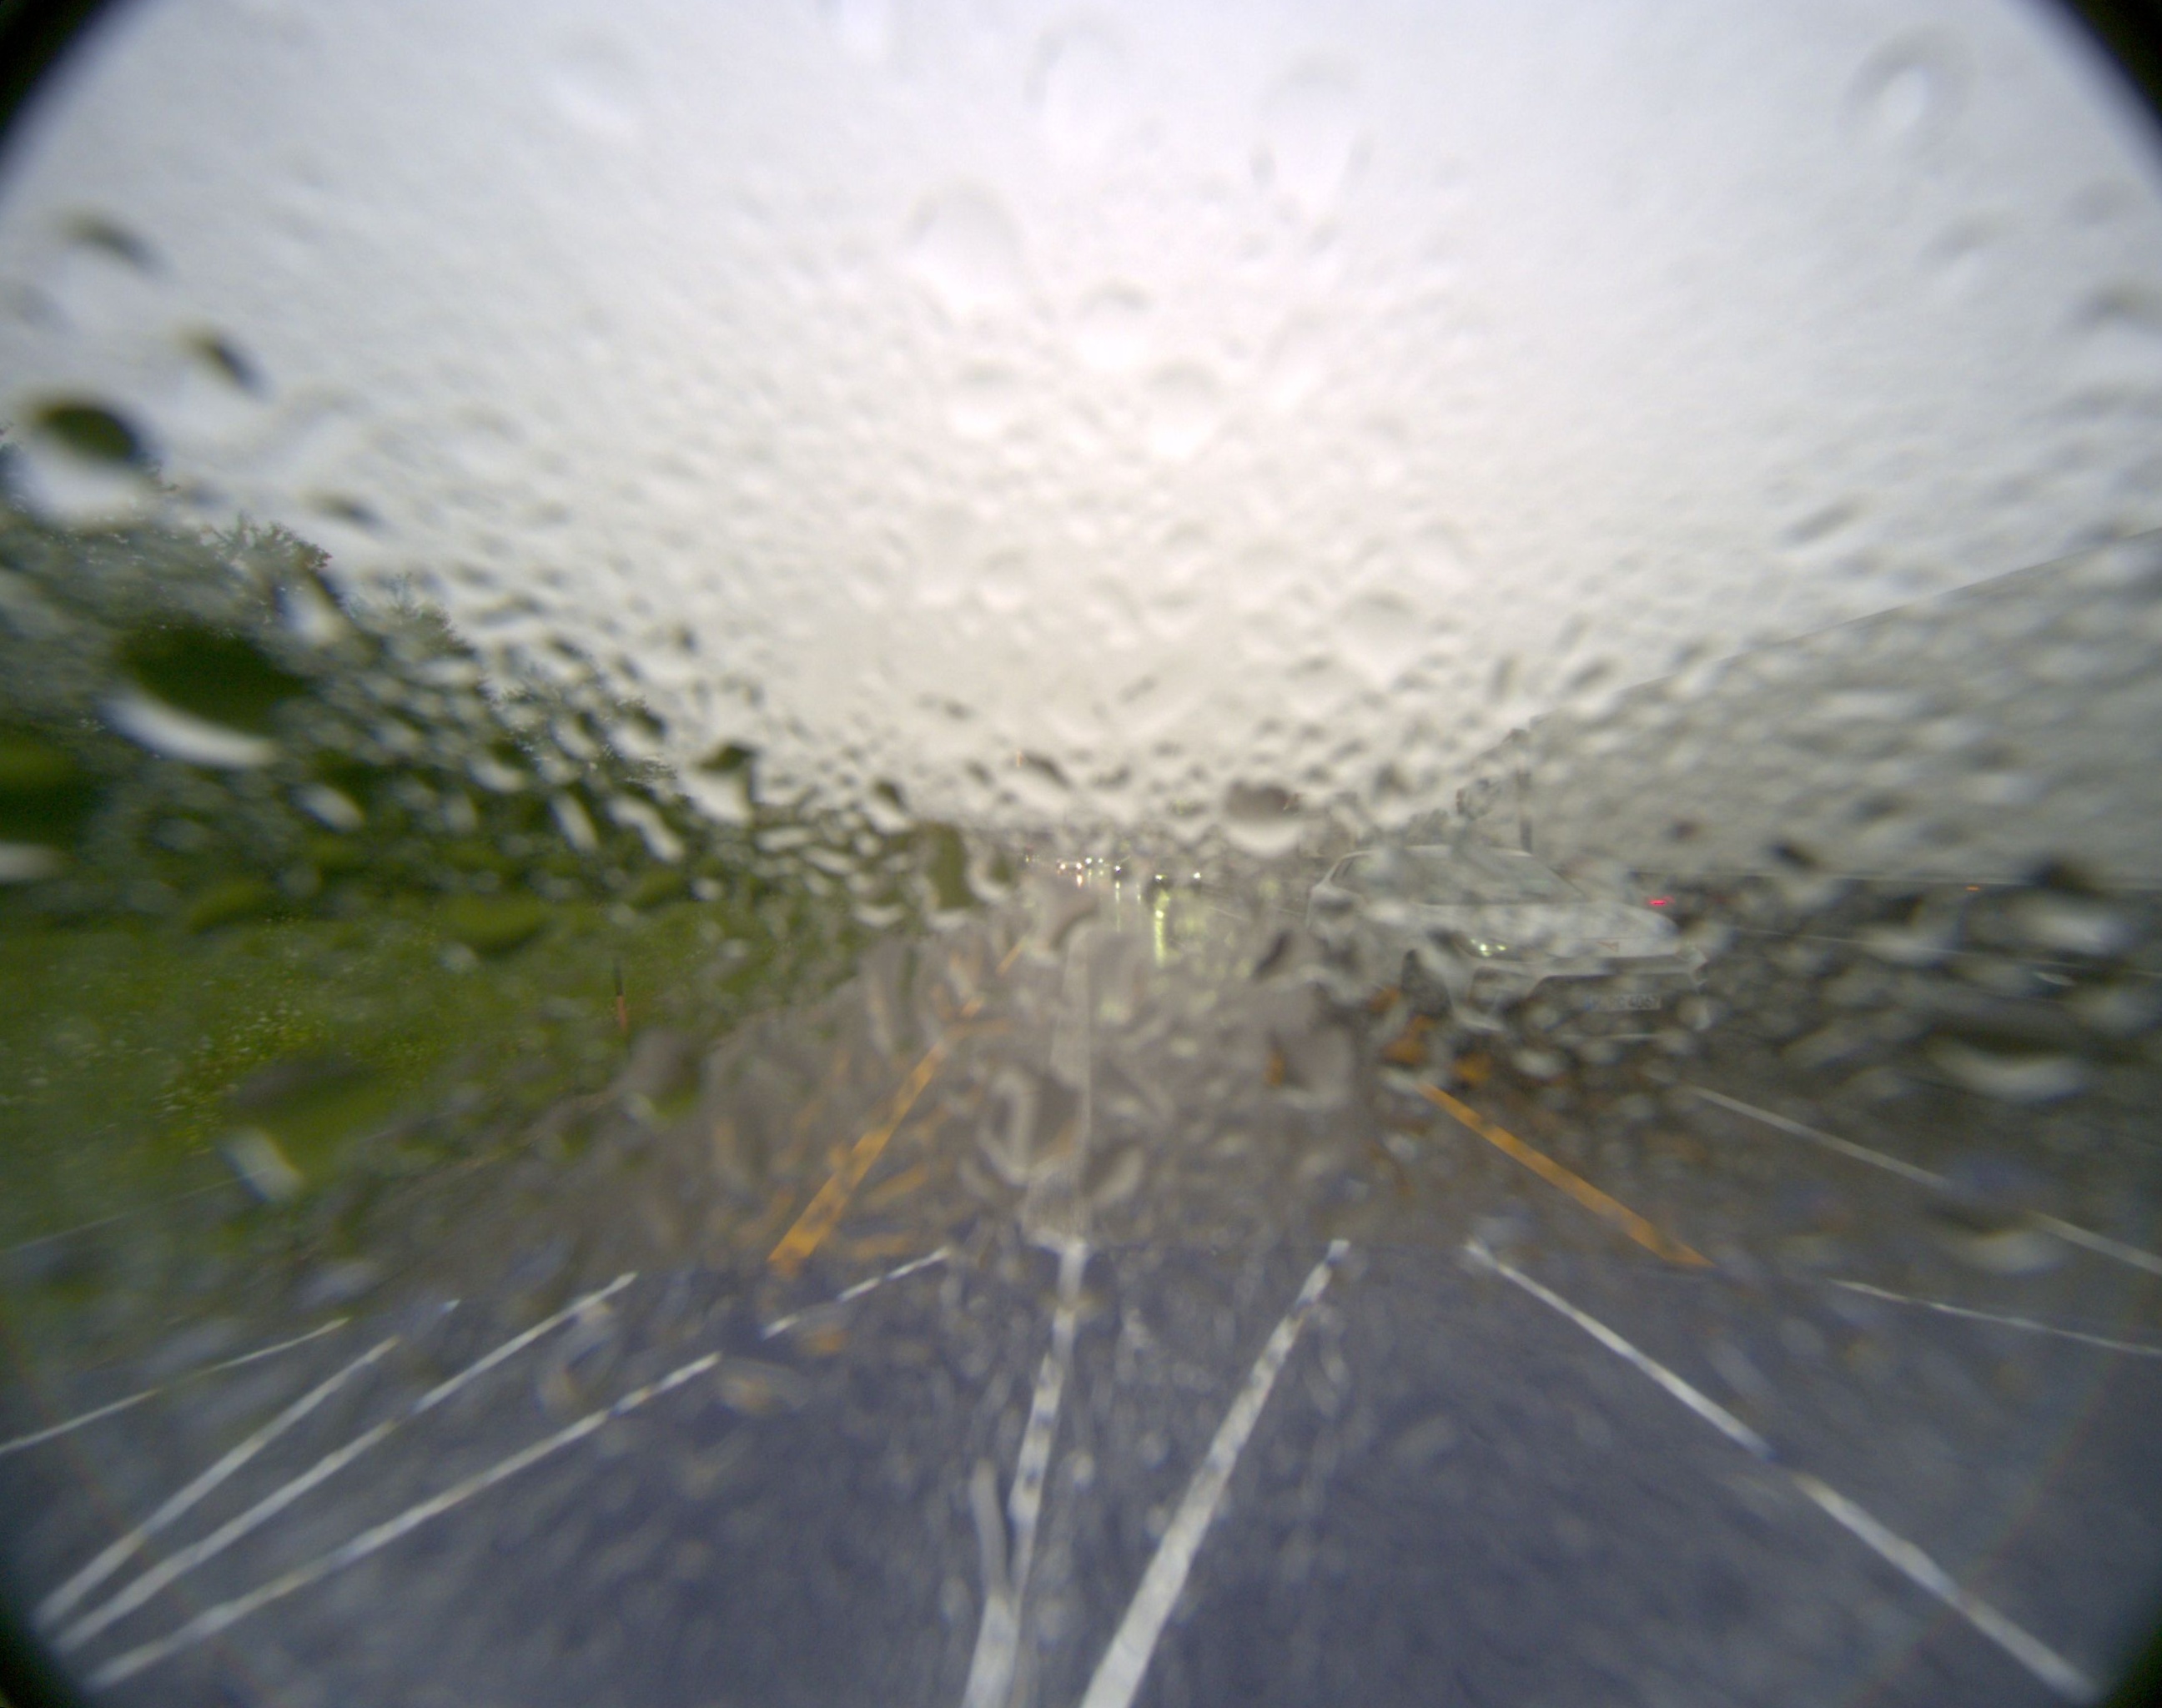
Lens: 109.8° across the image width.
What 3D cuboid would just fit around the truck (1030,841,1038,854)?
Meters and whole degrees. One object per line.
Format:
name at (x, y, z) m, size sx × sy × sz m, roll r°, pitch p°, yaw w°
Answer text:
truck at (-16.123, -2.296, 260.072) m, size 2.507 × 4.067 × 15.195 m, roll -3°, pitch 1°, yaw -3°

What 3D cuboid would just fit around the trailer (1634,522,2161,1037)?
trailer at (9.992, -0.604, 5.704) m, size 2.914 × 4.065 × 12.220 m, roll -1°, pitch 0°, yaw 1°

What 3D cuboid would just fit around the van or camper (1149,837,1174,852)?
van or camper at (19.755, -2.254, 186.042) m, size 5.422 × 3.325 × 3.376 m, roll -3°, pitch 1°, yaw -5°

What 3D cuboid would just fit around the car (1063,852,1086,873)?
car at (-0.594, 0.762, 67.863) m, size 1.881 × 1.772 × 3.998 m, roll 0°, pitch 1°, yaw -3°

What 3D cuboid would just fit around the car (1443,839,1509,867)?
car at (30.117, -0.088, 58.140) m, size 2.099 × 1.955 × 5.364 m, roll -1°, pitch 0°, yaw -1°

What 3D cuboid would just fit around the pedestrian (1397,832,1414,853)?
pedestrian at (32.069, -1.106, 75.109) m, size 1.108 × 2.002 × 1.126 m, roll -3°, pitch 1°, yaw -4°

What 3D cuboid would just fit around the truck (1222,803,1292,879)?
truck at (10.105, -0.721, 44.186) m, size 2.490 × 4.007 × 6.447 m, roll -2°, pitch 0°, yaw 0°

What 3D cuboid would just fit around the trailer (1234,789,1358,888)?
trailer at (10.119, -0.657, 37.582) m, size 2.500 × 4.026 × 12.585 m, roll -1°, pitch 0°, yaw 0°

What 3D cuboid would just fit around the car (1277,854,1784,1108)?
car at (3.502, 0.809, 7.322) m, size 1.932 × 1.542 × 5.006 m, roll -1°, pitch 0°, yaw 0°

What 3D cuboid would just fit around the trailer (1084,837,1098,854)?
trailer at (2.332, -2.025, 180.922) m, size 2.620 × 3.984 × 11.923 m, roll -2°, pitch 1°, yaw -2°

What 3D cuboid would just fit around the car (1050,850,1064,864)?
car at (-3.091, 0.361, 97.051) m, size 1.674 × 1.804 × 3.998 m, roll 0°, pitch 1°, yaw -3°

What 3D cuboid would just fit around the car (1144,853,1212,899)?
car at (3.787, 0.807, 30.494) m, size 2.069 × 1.618 × 5.195 m, roll -1°, pitch 0°, yaw 0°

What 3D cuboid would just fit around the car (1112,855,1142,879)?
car at (3.124, 0.883, 52.198) m, size 1.792 × 1.480 × 3.999 m, roll -2°, pitch 1°, yaw 0°

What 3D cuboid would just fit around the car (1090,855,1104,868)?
car at (1.966, 0.880, 94.592) m, size 1.589 × 1.528 × 3.831 m, roll 0°, pitch 1°, yaw 0°

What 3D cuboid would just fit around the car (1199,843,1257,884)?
car at (7.090, 0.452, 37.010) m, size 1.998 × 1.873 × 4.433 m, roll -1°, pitch 0°, yaw 1°

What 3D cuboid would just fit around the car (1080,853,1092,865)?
car at (0.736, 0.742, 120.917) m, size 1.673 × 1.804 × 3.999 m, roll 0°, pitch 1°, yaw -2°

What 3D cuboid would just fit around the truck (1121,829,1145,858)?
truck at (7.582, -1.496, 110.909) m, size 2.631 × 4.058 × 6.667 m, roll -2°, pitch 0°, yaw -3°

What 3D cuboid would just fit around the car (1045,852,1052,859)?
car at (-8.016, 0.313, 186.387) m, size 1.673 × 1.804 × 3.999 m, roll 0°, pitch 1°, yaw -2°

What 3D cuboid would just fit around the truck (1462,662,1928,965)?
truck at (10.098, -0.528, 13.804) m, size 2.891 × 4.077 × 6.926 m, roll -1°, pitch 0°, yaw 1°

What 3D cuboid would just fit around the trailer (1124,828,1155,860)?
trailer at (7.909, -1.399, 103.986) m, size 2.607 × 4.054 × 12.427 m, roll -2°, pitch 1°, yaw -3°
